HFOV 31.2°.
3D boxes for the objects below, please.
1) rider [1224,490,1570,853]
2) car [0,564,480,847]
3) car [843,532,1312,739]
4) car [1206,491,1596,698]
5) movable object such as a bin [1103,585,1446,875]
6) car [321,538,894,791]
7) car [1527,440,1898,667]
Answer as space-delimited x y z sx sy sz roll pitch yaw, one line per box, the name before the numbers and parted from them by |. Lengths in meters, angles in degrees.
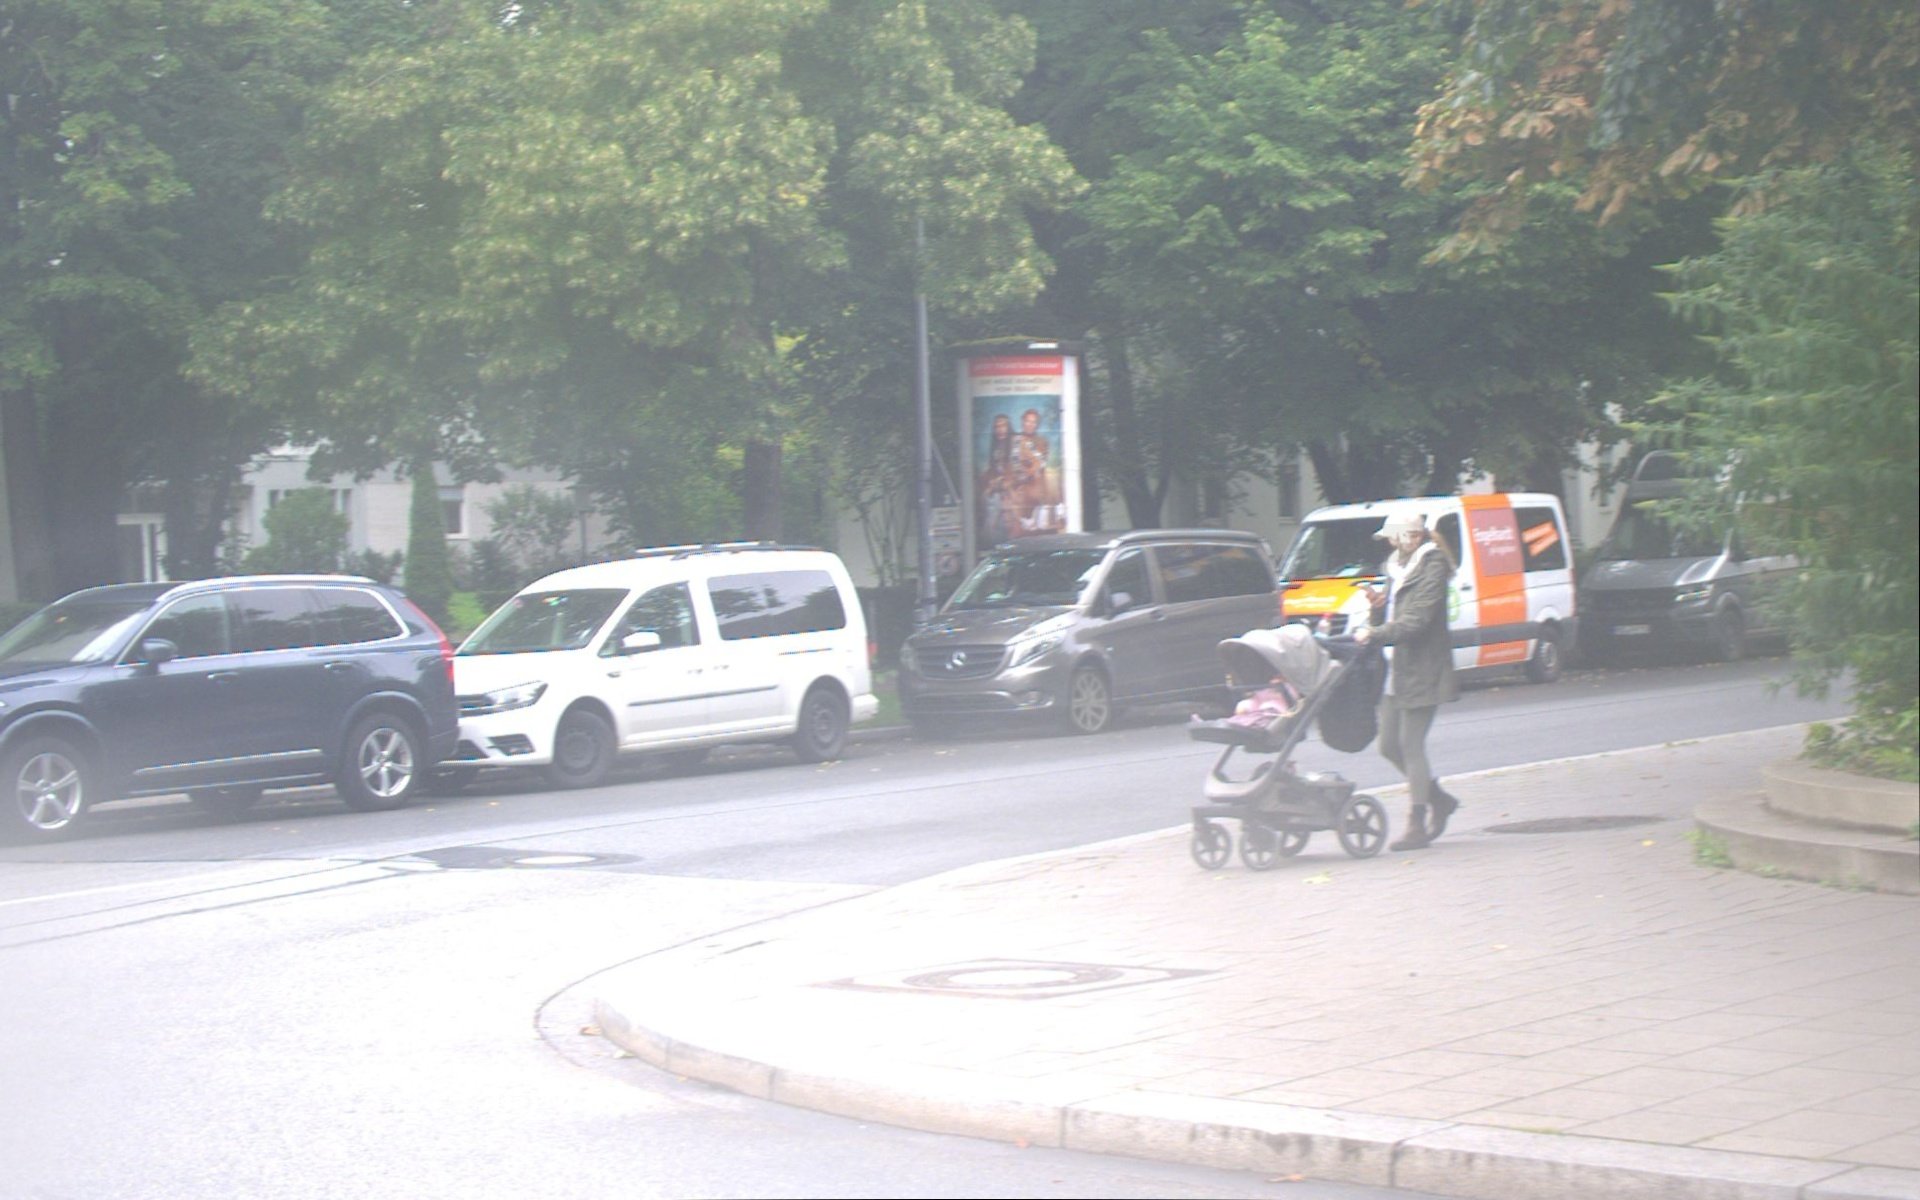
rider | 2.111 0.346 16.642 1.136 1.662 1.085 -2 -2 -40
car | -5.898 0.683 24.207 2.069 1.761 4.896 -1 1 38
car | 1.247 0.299 33.916 2.069 1.852 4.976 -1 1 38
car | 5.204 -0.098 39.960 2.115 2.243 5.184 -1 1 38
movable object such as a bin | 1.468 0.607 16.090 1.083 1.263 1.081 -2 -2 -39
car | -2.818 0.469 28.608 1.930 1.888 4.857 -1 1 37
car | 10.473 -0.657 47.374 2.340 2.912 6.565 -1 1 38
